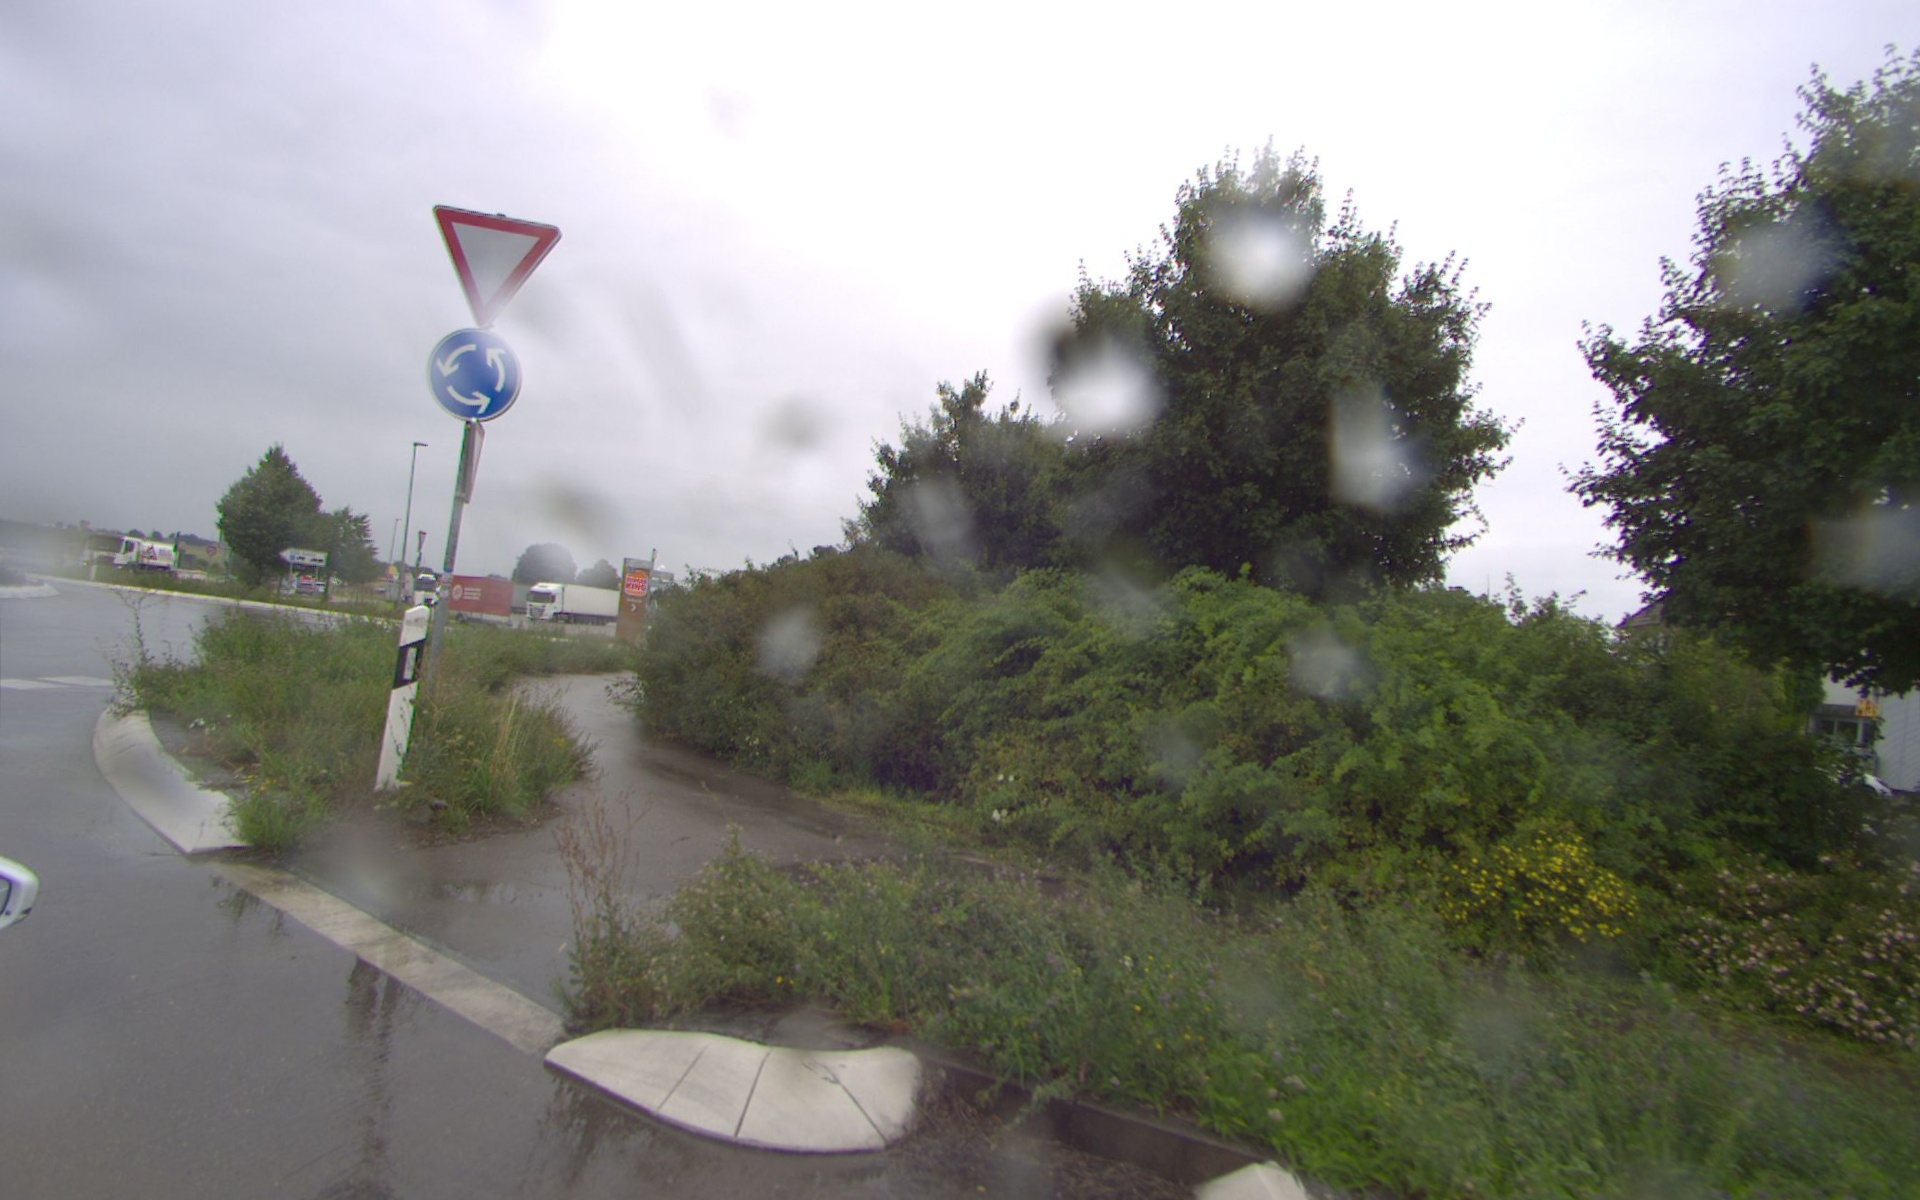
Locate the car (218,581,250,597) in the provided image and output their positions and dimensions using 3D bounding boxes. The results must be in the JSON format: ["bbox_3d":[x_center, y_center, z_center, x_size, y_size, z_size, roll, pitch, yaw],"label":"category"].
[{"bbox_3d":[-69.369,-1.031,96.126,1.514,1.225,3.599,7,-3,-21],"label":"car"}]

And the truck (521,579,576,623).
[{"bbox_3d":[-41.929,0.145,102.589,3.222,3.992,4.467,5,-3,3],"label":"truck"}]

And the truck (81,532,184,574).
[{"bbox_3d":[-60.044,-3.342,73.237,2.480,2.249,8.390,6,-2,-16],"label":"truck"}]

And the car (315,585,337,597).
[{"bbox_3d":[-75.189,-1.095,119.261,3.194,1.225,1.352,3,-4,43],"label":"car"}]

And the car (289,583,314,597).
[{"bbox_3d":[-69.521,-1.093,106.144,3.194,1.225,1.352,3,-4,43],"label":"car"}]

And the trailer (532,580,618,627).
[{"bbox_3d":[-41.542,0.534,109.322,3.222,3.991,13.155,5,-3,3],"label":"trailer"}]

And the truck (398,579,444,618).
[{"bbox_3d":[-67.025,-0.283,125.028,2.888,4.338,8.719,7,-3,-40],"label":"truck"}]

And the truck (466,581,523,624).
[{"bbox_3d":[-61.218,0.461,132.733,3.297,4.789,11.193,6,-3,-8],"label":"truck"}]
